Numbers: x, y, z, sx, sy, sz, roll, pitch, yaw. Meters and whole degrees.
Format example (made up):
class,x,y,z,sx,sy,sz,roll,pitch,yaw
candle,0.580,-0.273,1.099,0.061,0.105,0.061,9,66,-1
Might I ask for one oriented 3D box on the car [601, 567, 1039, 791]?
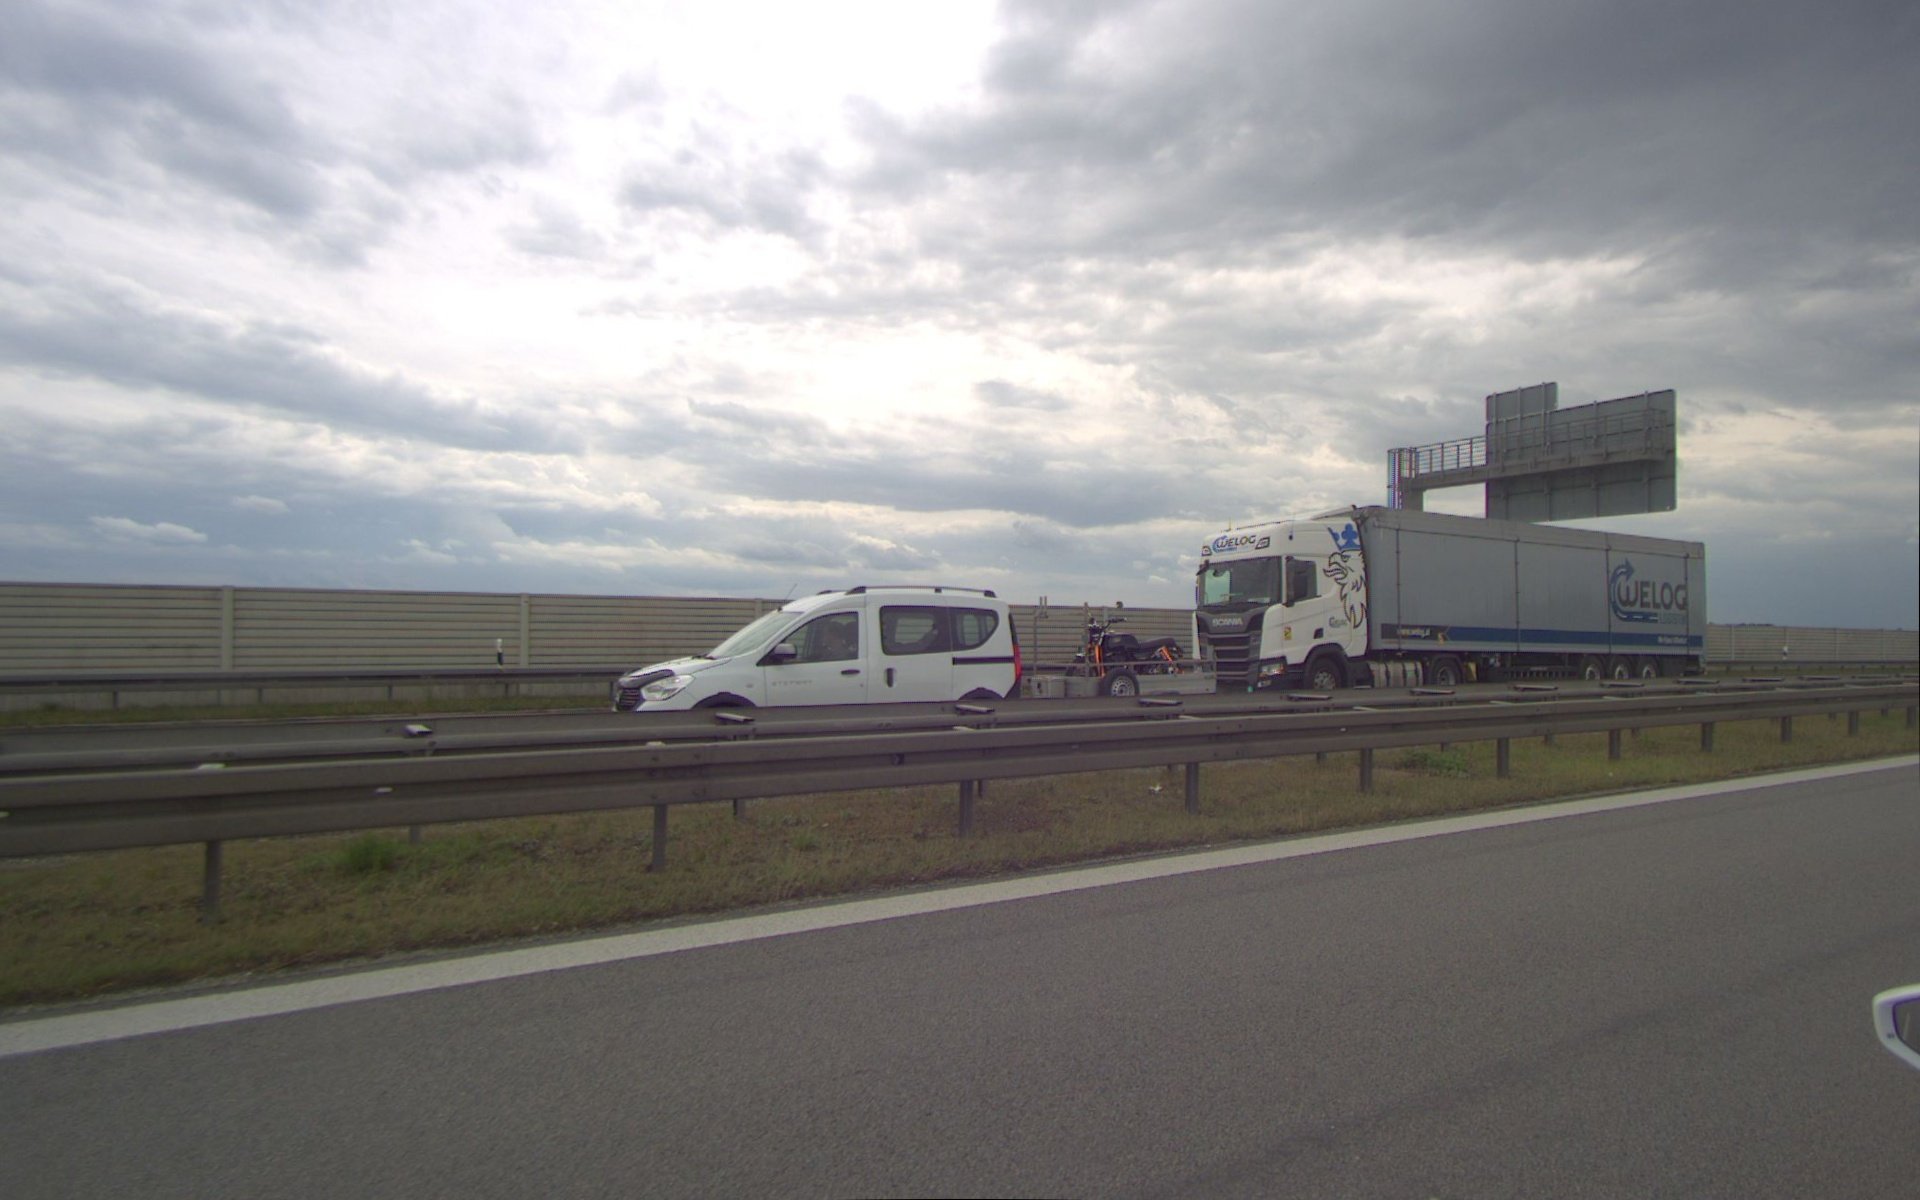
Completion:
class,x,y,z,sx,sy,sz,roll,pitch,yaw
car,-1.430,0.730,10.566,4.132,1.872,1.805,2,4,-30

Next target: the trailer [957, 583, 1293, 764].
class,x,y,z,sx,sy,sz,roll,pitch,yaw
trailer,2.095,0.842,12.644,3.818,1.872,1.805,2,4,-30

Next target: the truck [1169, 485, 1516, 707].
class,x,y,z,sx,sy,sz,roll,pitch,yaw
truck,8.258,0.064,21.516,7.238,4.067,3.095,2,-3,-30

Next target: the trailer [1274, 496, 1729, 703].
class,x,y,z,sx,sy,sz,roll,pitch,yaw
trailer,13.872,0.206,24.866,13.859,4.129,3.164,2,-3,-30
